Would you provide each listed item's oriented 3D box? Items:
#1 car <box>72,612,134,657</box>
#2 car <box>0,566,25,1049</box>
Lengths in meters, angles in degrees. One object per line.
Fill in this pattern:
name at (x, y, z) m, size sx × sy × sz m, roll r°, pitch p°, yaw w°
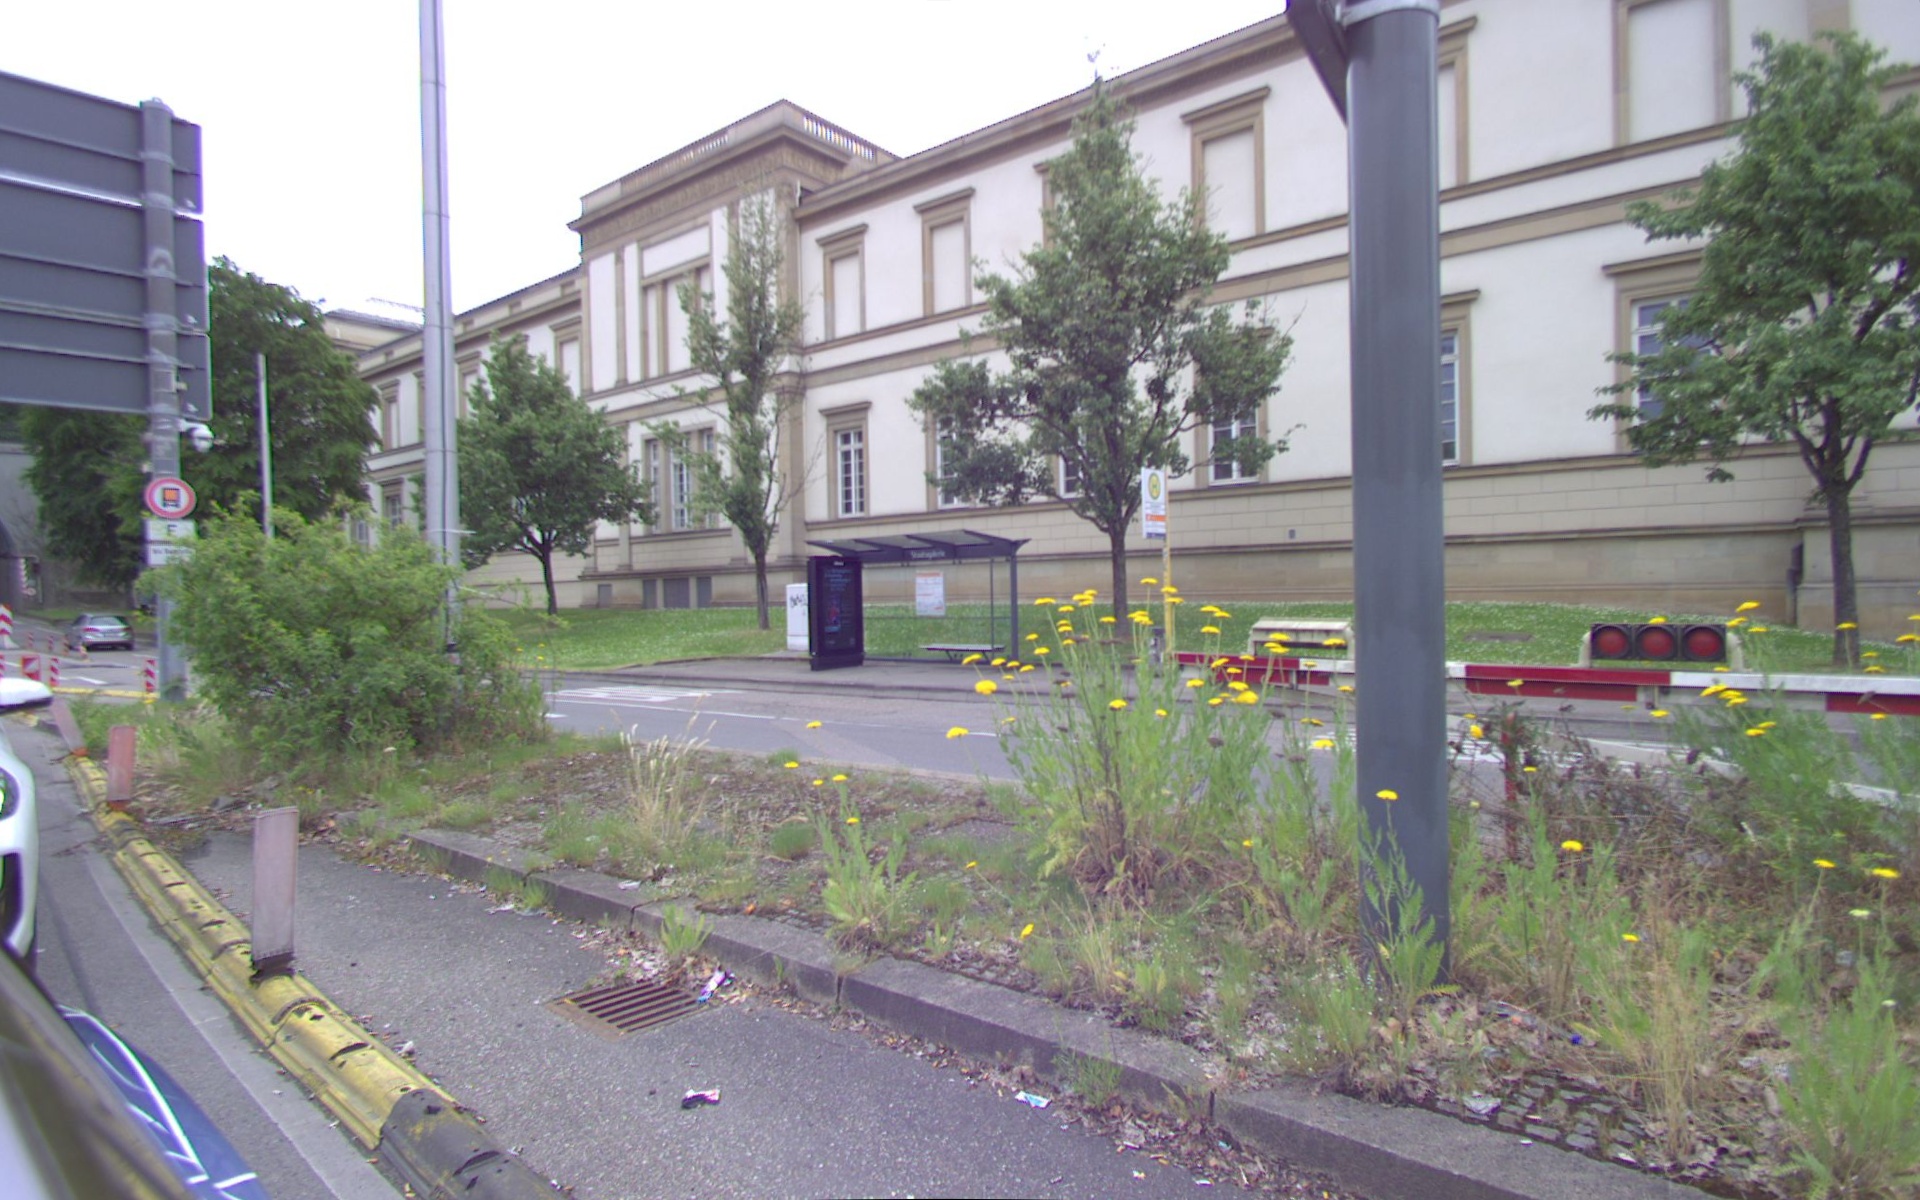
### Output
car at (-35.903, 1.410, 42.366) m, size 1.810 × 1.759 × 4.004 m, roll -1°, pitch 0°, yaw -43°
car at (-5.195, 0.727, 4.064) m, size 3.672 × 1.637 × 1.960 m, roll -1°, pitch 0°, yaw 45°
